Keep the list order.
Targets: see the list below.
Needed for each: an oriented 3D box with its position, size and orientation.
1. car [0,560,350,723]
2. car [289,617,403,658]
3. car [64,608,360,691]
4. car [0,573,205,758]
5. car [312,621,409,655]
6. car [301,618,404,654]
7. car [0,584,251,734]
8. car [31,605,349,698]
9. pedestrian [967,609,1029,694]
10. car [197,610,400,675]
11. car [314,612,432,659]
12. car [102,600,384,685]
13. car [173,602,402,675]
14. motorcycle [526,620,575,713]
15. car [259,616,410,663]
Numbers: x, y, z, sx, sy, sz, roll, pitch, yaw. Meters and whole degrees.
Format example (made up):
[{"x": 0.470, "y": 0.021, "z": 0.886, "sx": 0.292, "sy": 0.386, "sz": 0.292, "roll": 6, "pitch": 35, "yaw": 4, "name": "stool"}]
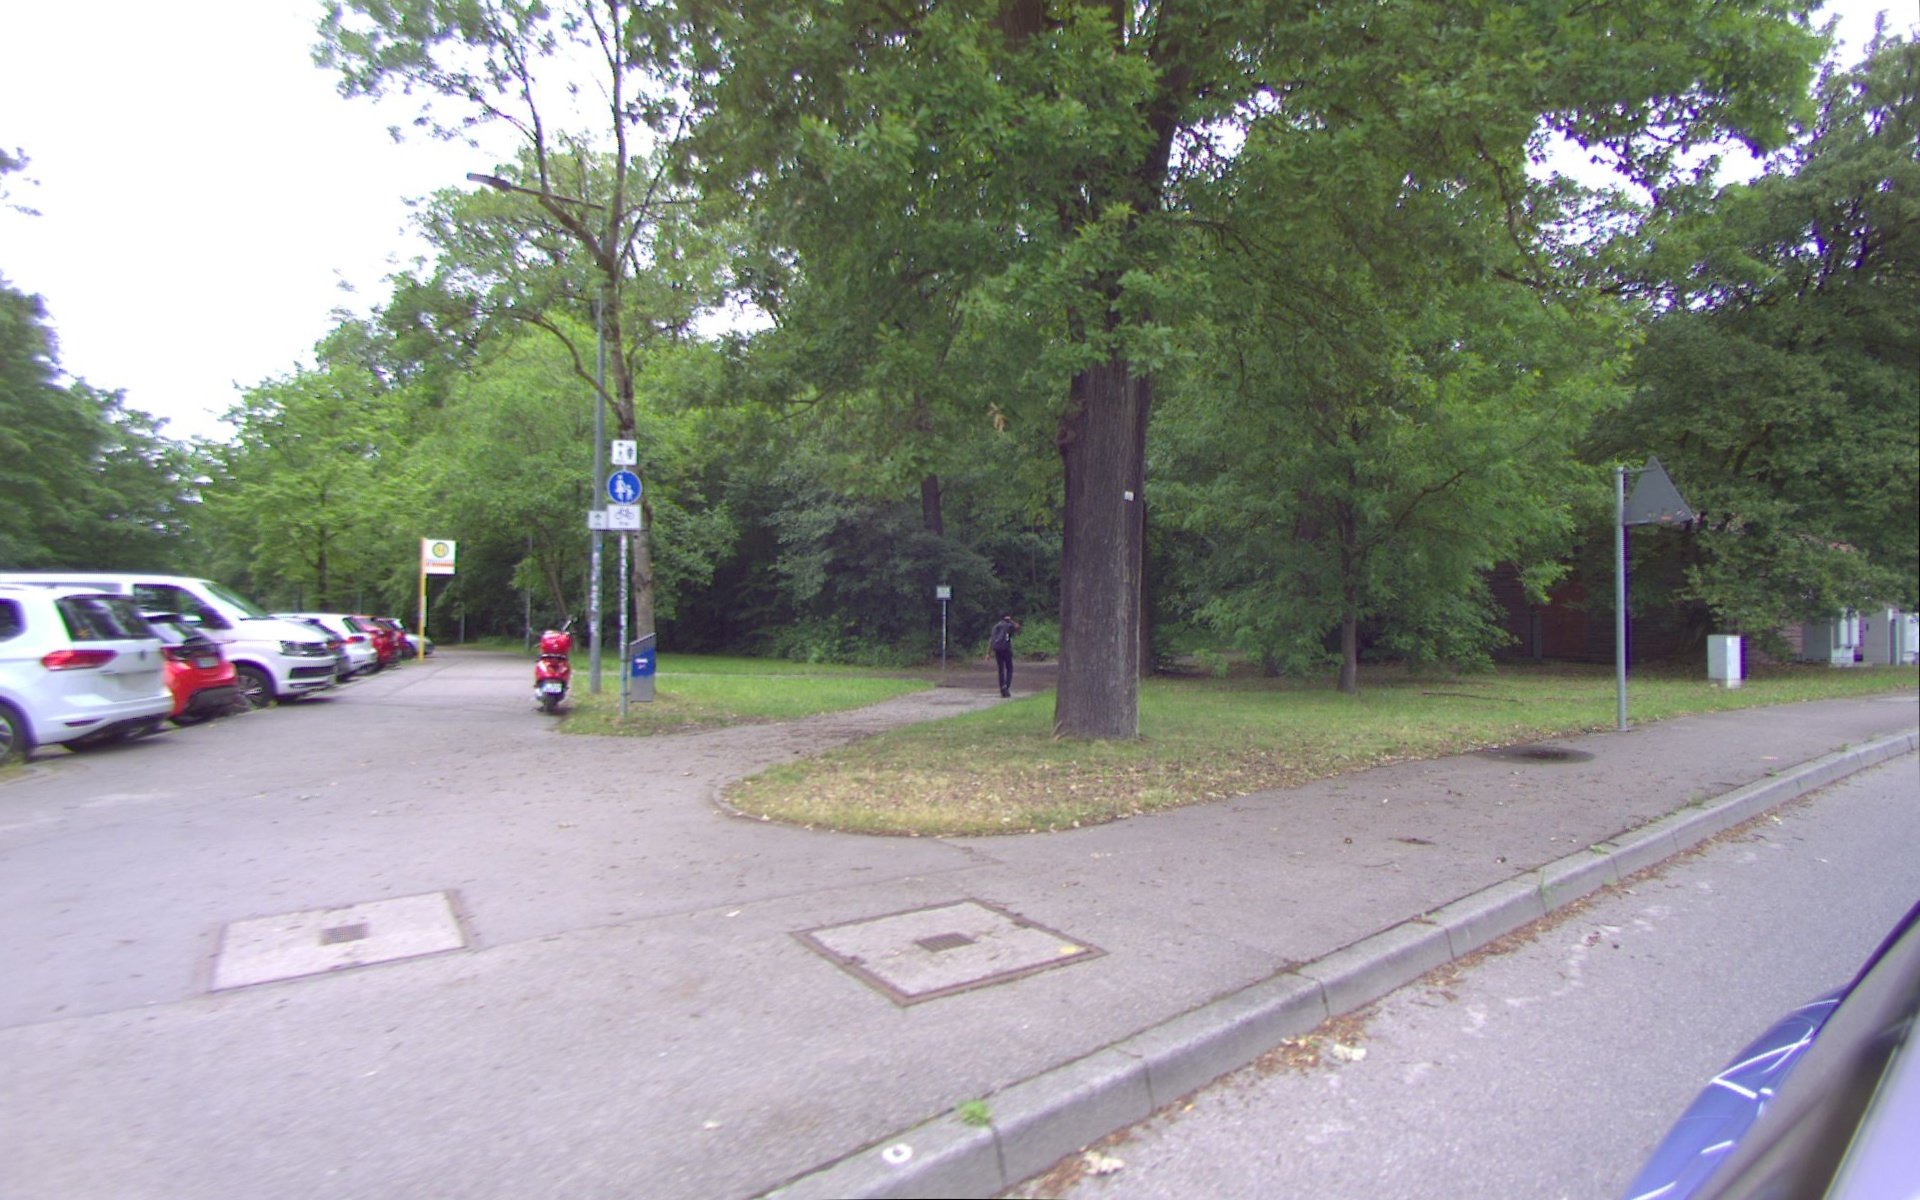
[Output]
[{"x": -11.650, "y": 0.555, "z": 14.083, "sx": 5.075, "sy": 1.982, "sz": 2.066, "roll": -2, "pitch": -1, "yaw": -20, "name": "car"}, {"x": -21.012, "y": 1.269, "z": 34.770, "sx": 3.215, "sy": 1.278, "sz": 1.520, "roll": 0, "pitch": -1, "yaw": -26, "name": "car"}, {"x": -13.620, "y": 0.864, "z": 18.731, "sx": 4.042, "sy": 1.342, "sz": 1.823, "roll": -1, "pitch": -1, "yaw": -20, "name": "car"}, {"x": -9.828, "y": 0.599, "z": 9.199, "sx": 4.328, "sy": 1.572, "sz": 2.004, "roll": -1, "pitch": -1, "yaw": -16, "name": "car"}, {"x": -27.408, "y": 1.724, "z": 46.409, "sx": 3.694, "sy": 1.446, "sz": 1.659, "roll": 0, "pitch": -1, "yaw": -27, "name": "car"}, {"x": -26.166, "y": 1.515, "z": 43.747, "sx": 3.694, "sy": 1.446, "sz": 1.759, "roll": 0, "pitch": -1, "yaw": -27, "name": "car"}, {"x": -10.714, "y": 0.657, "z": 11.535, "sx": 3.916, "sy": 1.572, "sz": 1.898, "roll": -1, "pitch": -1, "yaw": -16, "name": "car"}, {"x": -12.498, "y": 0.798, "z": 16.742, "sx": 3.853, "sy": 1.345, "sz": 1.724, "roll": -1, "pitch": -1, "yaw": -22, "name": "car"}, {"x": 0.775, "y": 1.027, "z": 20.555, "sx": 0.828, "sy": 1.672, "sz": 1.022, "roll": -2, "pitch": -2, "yaw": 36, "name": "pedestrian"}, {"x": -16.557, "y": 1.037, "z": 25.561, "sx": 3.982, "sy": 1.476, "sz": 1.767, "roll": -1, "pitch": -1, "yaw": -20, "name": "car"}, {"x": -19.080, "y": 1.138, "z": 33.015, "sx": 3.215, "sy": 1.448, "sz": 1.520, "roll": 0, "pitch": -1, "yaw": -26, "name": "car"}, {"x": -14.542, "y": 0.827, "z": 20.867, "sx": 4.438, "sy": 1.578, "sz": 1.846, "roll": -1, "pitch": -1, "yaw": -23, "name": "car"}, {"x": -15.394, "y": 0.851, "z": 23.433, "sx": 4.112, "sy": 1.515, "sz": 1.823, "roll": -1, "pitch": -1, "yaw": -20, "name": "car"}, {"x": -5.870, "y": 0.909, "z": 14.474, "sx": 0.578, "sy": 1.219, "sz": 1.960, "roll": 0, "pitch": -1, "yaw": -24, "name": "motorcycle"}, {"x": -18.641, "y": 1.145, "z": 30.331, "sx": 3.697, "sy": 1.282, "sz": 1.622, "roll": 0, "pitch": -1, "yaw": -26, "name": "car"}]
